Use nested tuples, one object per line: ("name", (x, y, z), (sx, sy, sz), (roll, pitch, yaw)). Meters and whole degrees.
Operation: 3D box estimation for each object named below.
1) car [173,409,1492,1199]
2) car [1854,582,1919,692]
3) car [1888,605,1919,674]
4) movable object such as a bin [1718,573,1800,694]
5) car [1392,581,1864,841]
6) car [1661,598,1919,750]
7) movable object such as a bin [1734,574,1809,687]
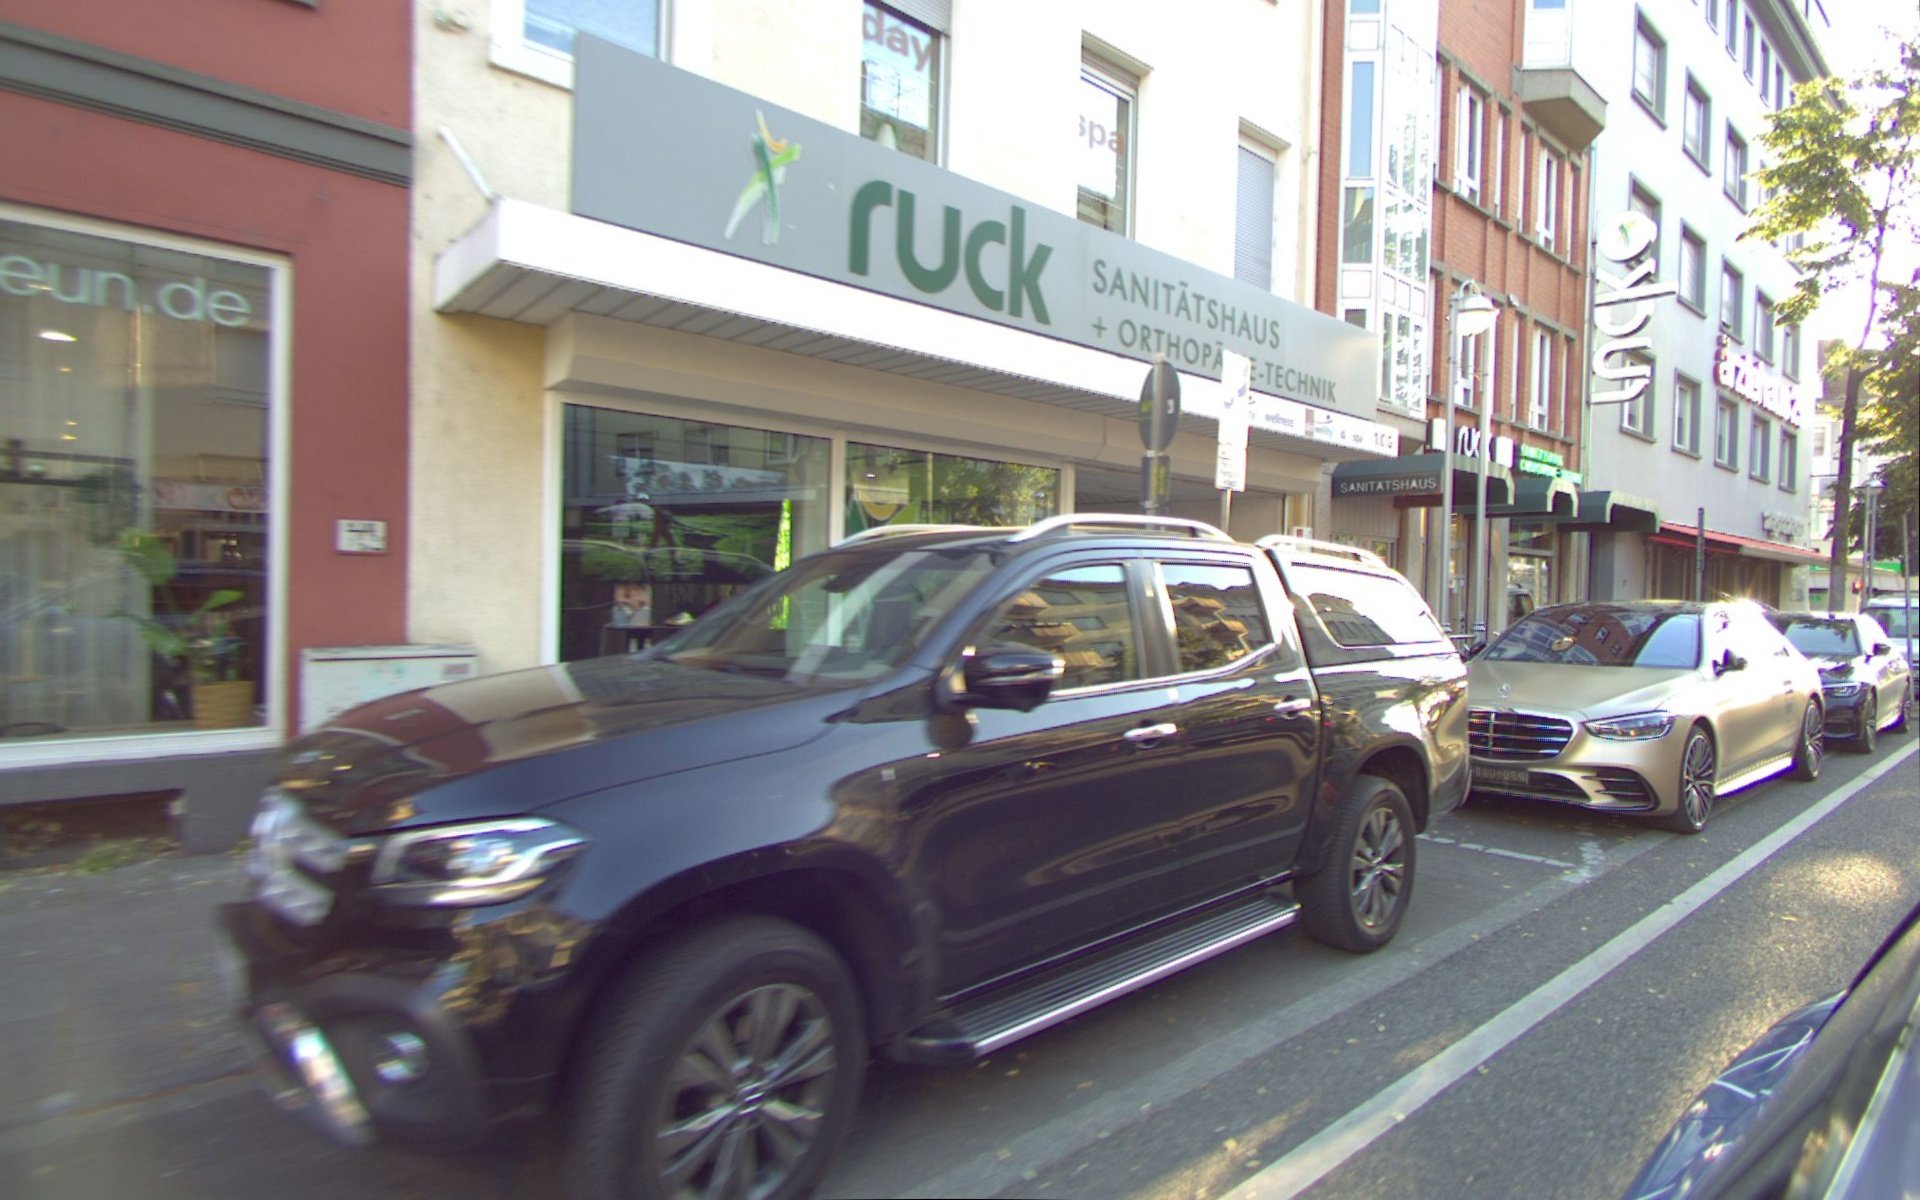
("car", (0.119, 0.551, 3.972), (4.972, 1.776, 1.886), (-1, 1, -42))
("car", (17.093, 0.618, 17.862), (3.944, 1.801, 1.656), (1, 0, -44))
("car", (21.523, 0.827, 21.763), (4.110, 1.394, 1.940), (0, 0, -42))
("movable object such as a bin", (12.497, 0.489, 15.819), (1.331, 1.796, 0.835), (0, 0, -44))
("car", (5.646, 0.625, 8.267), (4.903, 1.546, 1.816), (-1, 1, -39))
("car", (9.861, 0.719, 11.802), (4.431, 1.438, 1.755), (0, 0, -41))
("movable object such as a bin", (13.408, 0.474, 16.719), (1.186, 1.796, 0.835), (0, 0, -44))
